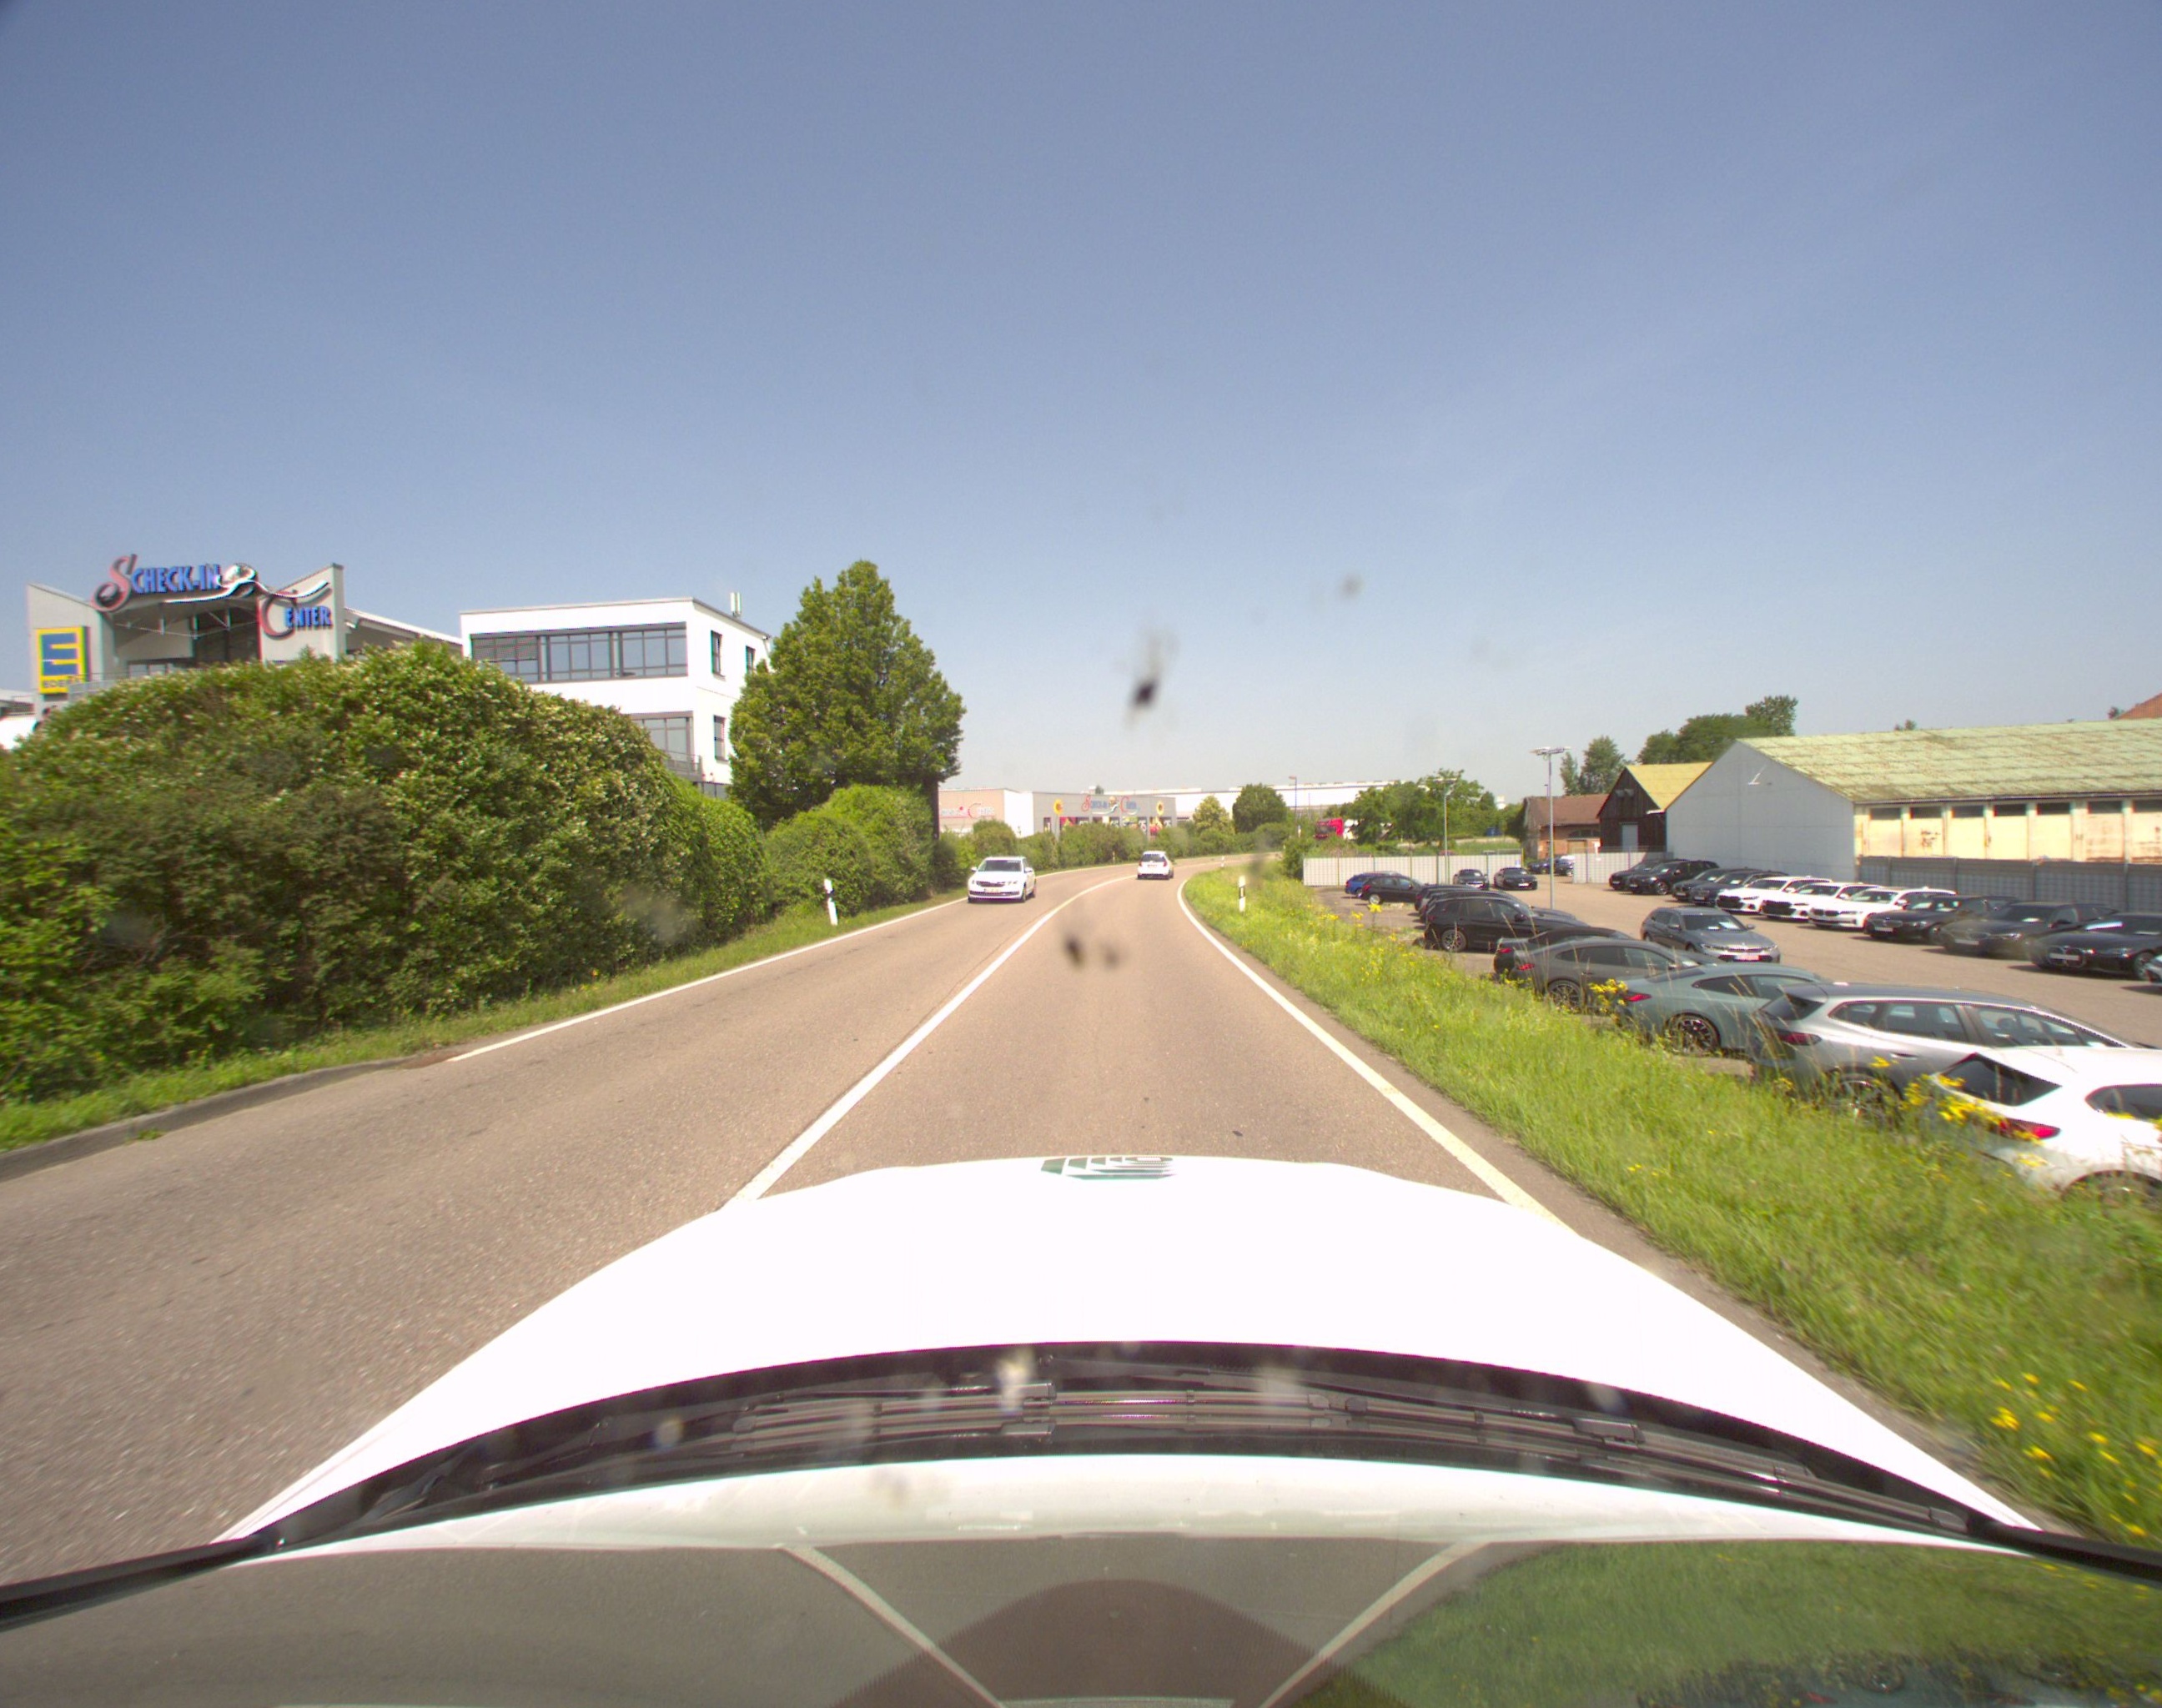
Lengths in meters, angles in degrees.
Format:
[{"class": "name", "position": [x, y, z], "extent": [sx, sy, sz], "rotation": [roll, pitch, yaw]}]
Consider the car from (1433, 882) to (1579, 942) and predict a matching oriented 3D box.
[{"class": "car", "position": [14.679, 1.941, 28.195], "extent": [4.181, 1.700, 1.931], "rotation": [0, 2, 38]}]

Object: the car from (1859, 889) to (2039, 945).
[{"class": "car", "position": [27.135, 1.929, 25.537], "extent": [3.990, 1.523, 1.756], "rotation": [-1, 0, -5]}]

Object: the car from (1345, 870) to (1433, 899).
[{"class": "car", "position": [18.232, 1.760, 48.314], "extent": [4.583, 1.498, 1.868], "rotation": [0, 2, 33]}]

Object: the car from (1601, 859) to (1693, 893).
[{"class": "car", "position": [33.114, 1.241, 47.708], "extent": [4.323, 1.804, 1.993], "rotation": [-1, 1, -10]}]

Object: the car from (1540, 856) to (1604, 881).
[{"class": "car", "position": [35.298, 1.037, 58.654], "extent": [3.707, 1.750, 1.682], "rotation": [0, 0, 18]}]

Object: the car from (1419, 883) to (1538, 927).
[{"class": "car", "position": [16.248, 2.048, 33.388], "extent": [4.097, 1.493, 1.843], "rotation": [0, 1, 38]}]

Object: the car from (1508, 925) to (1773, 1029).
[{"class": "car", "position": [10.846, 2.320, 16.159], "extent": [4.119, 1.523, 1.868], "rotation": [0, 0, 30]}]

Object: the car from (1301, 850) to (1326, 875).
[{"class": "car", "position": [19.195, 0.671, 67.300], "extent": [1.979, 2.013, 4.016], "rotation": [0, 0, 15]}]

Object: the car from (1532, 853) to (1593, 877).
[{"class": "car", "position": [36.462, 0.802, 61.752], "extent": [3.706, 1.750, 1.682], "rotation": [0, 0, 21]}]

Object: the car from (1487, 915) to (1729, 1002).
[{"class": "car", "position": [12.218, 2.353, 19.182], "extent": [4.583, 1.523, 1.868], "rotation": [0, 0, 33]}]

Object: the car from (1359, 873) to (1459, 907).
[{"class": "car", "position": [17.040, 1.833, 42.341], "extent": [4.584, 1.605, 1.868], "rotation": [0, 0, 30]}]

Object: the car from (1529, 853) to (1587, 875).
[{"class": "car", "position": [37.788, 0.769, 64.603], "extent": [3.706, 1.750, 1.682], "rotation": [0, 0, 21]}]

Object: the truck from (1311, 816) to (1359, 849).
[{"class": "truck", "position": [31.760, -2.622, 101.701], "extent": [6.759, 4.030, 2.856], "rotation": [0, 0, -43]}]

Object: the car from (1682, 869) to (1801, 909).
[{"class": "car", "position": [30.367, 1.579, 37.472], "extent": [4.323, 1.576, 1.905], "rotation": [-1, 1, -10]}]

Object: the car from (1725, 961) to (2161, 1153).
[{"class": "car", "position": [10.359, 2.257, 9.580], "extent": [4.119, 1.523, 1.868], "rotation": [0, 0, 29]}]

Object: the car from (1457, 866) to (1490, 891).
[{"class": "car", "position": [25.660, 1.554, 53.131], "extent": [1.833, 1.534, 4.671], "rotation": [0, 0, 27]}]

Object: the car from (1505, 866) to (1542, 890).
[{"class": "car", "position": [28.349, 1.504, 52.299], "extent": [1.975, 1.398, 4.024], "rotation": [0, 0, 27]}]

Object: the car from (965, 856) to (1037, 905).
[{"class": "car", "position": [-2.536, 0.802, 26.815], "extent": [1.822, 1.470, 4.412], "rotation": [0, 0, 2]}]

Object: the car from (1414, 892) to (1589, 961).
[{"class": "car", "position": [12.970, 2.152, 25.221], "extent": [4.583, 1.700, 1.869], "rotation": [0, 2, 35]}]

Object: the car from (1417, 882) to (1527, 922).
[{"class": "car", "position": [17.065, 2.041, 35.597], "extent": [3.985, 1.442, 1.785], "rotation": [0, 2, 42]}]

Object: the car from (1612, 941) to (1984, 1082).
[{"class": "car", "position": [10.891, 2.325, 12.850], "extent": [4.119, 1.523, 1.868], "rotation": [0, 0, 30]}]

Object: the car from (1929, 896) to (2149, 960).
[{"class": "car", "position": [26.616, 2.027, 22.710], "extent": [4.305, 1.523, 1.794], "rotation": [-1, 0, -5]}]

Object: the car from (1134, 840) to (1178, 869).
[{"class": "car", "position": [5.568, 0.038, 59.941], "extent": [1.975, 2.013, 4.023], "rotation": [0, 0, 25]}]

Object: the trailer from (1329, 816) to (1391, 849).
[{"class": "trailer", "position": [36.039, -2.668, 104.950], "extent": [8.729, 4.030, 2.859], "rotation": [0, 0, -34]}]

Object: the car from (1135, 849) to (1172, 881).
[{"class": "car", "position": [4.083, 0.588, 46.415], "extent": [1.775, 1.603, 3.895], "rotation": [4, 1, 1]}]

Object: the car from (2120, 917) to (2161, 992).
[{"class": "car", "position": [25.023, 2.104, 16.982], "extent": [4.596, 1.523, 1.929], "rotation": [-1, 0, -5]}]

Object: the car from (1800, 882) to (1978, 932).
[{"class": "car", "position": [28.501, 1.837, 28.801], "extent": [4.638, 1.523, 1.908], "rotation": [-1, 0, -5]}]

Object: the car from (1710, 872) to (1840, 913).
[{"class": "car", "position": [29.515, 1.596, 34.675], "extent": [4.323, 1.523, 1.905], "rotation": [-1, 1, -10]}]

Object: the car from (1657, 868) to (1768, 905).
[{"class": "car", "position": [31.100, 1.567, 40.150], "extent": [4.323, 1.576, 1.905], "rotation": [-1, 1, -10]}]

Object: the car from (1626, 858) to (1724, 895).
[{"class": "car", "position": [32.569, 1.214, 44.722], "extent": [4.323, 1.804, 1.905], "rotation": [-1, 1, -10]}]

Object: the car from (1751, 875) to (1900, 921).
[{"class": "car", "position": [29.033, 1.690, 31.811], "extent": [4.598, 1.523, 1.905], "rotation": [-1, 1, -10]}]

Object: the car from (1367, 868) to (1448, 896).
[{"class": "car", "position": [20.374, 1.702, 50.957], "extent": [4.319, 1.502, 1.853], "rotation": [0, 2, 45]}]

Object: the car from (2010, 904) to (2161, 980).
[{"class": "car", "position": [25.802, 2.082, 19.766], "extent": [4.596, 1.523, 1.929], "rotation": [-1, 0, -5]}]

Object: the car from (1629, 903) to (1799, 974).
[{"class": "car", "position": [17.316, 2.245, 22.602], "extent": [2.119, 1.457, 4.550], "rotation": [0, 0, 15]}]

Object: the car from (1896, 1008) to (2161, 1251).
[{"class": "car", "position": [9.813, 2.357, 6.667], "extent": [4.119, 1.523, 1.762], "rotation": [0, 0, 30]}]
